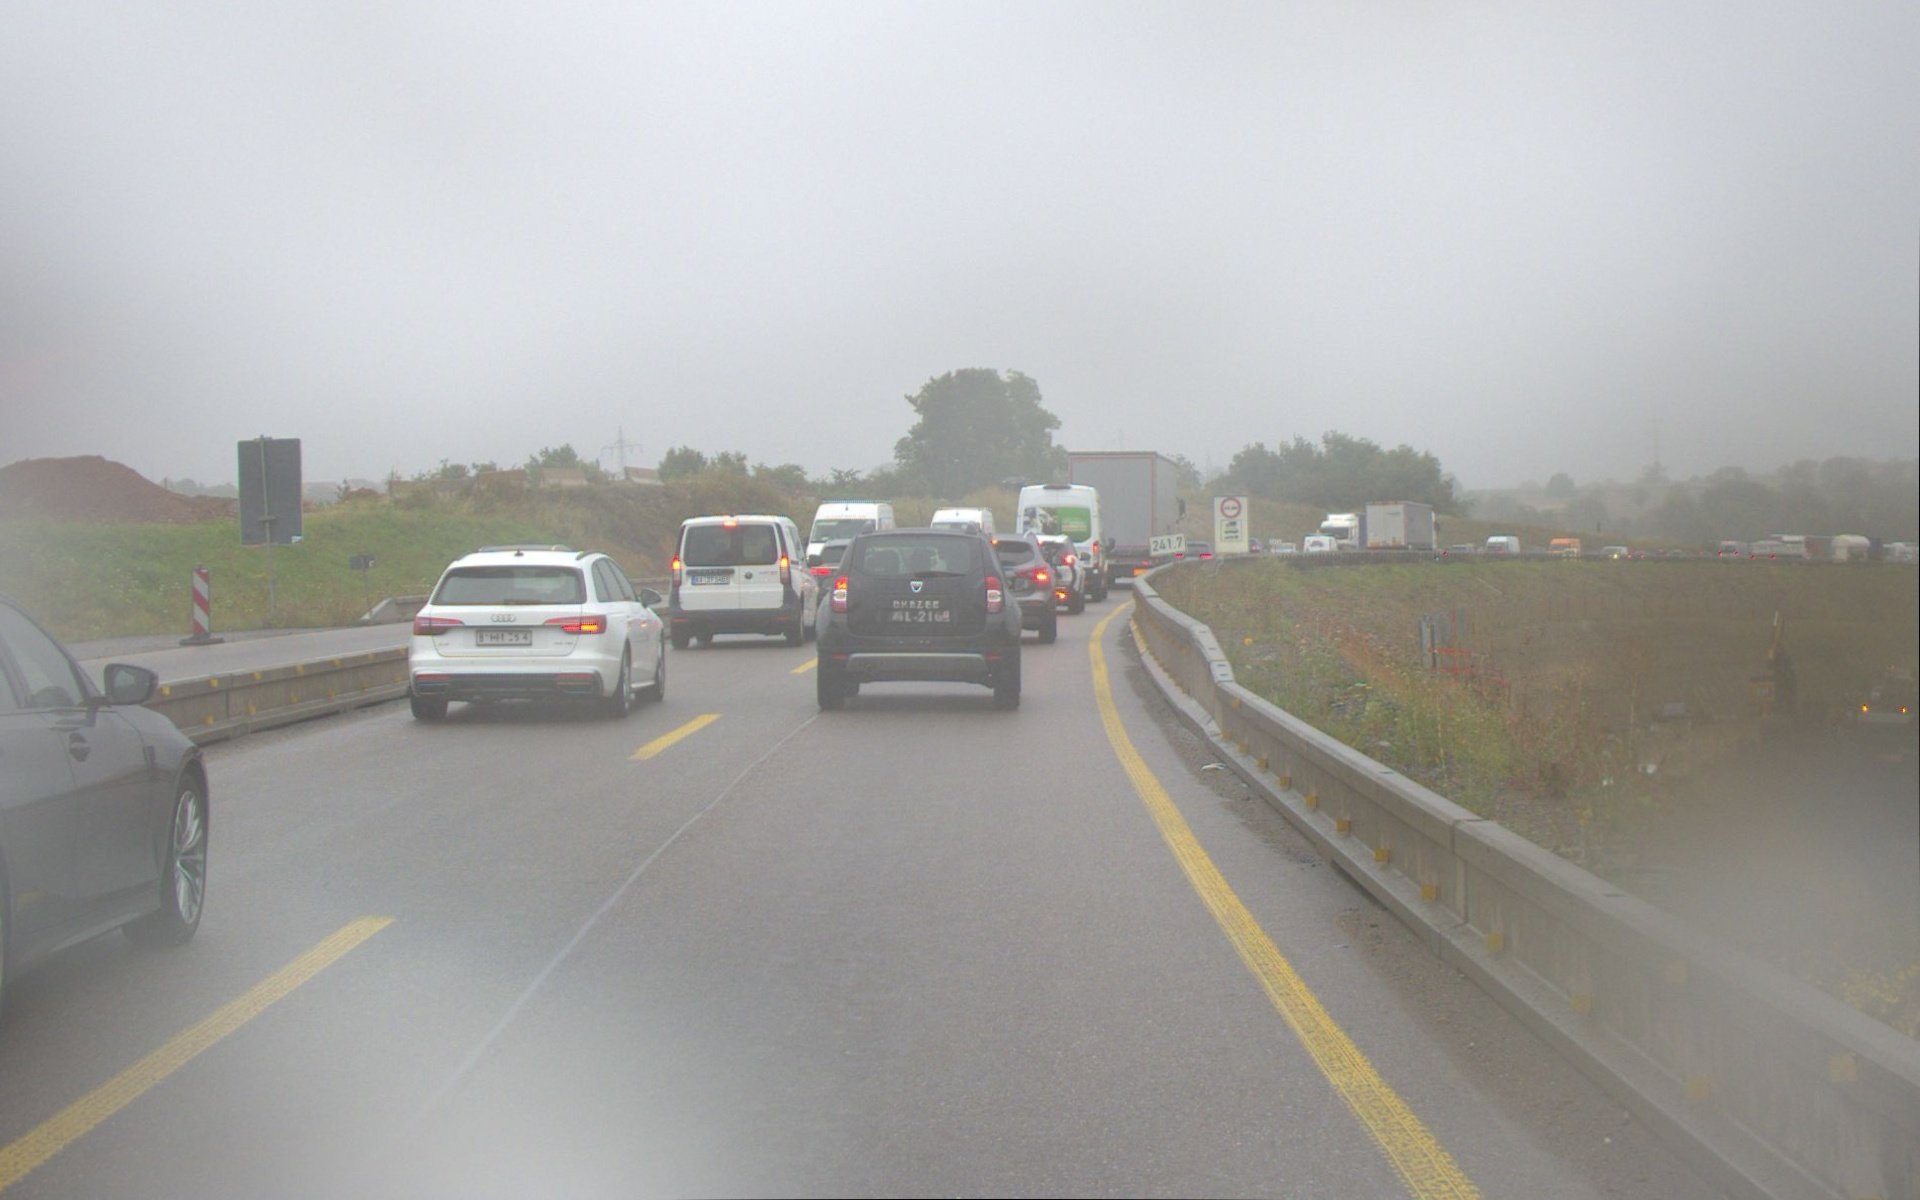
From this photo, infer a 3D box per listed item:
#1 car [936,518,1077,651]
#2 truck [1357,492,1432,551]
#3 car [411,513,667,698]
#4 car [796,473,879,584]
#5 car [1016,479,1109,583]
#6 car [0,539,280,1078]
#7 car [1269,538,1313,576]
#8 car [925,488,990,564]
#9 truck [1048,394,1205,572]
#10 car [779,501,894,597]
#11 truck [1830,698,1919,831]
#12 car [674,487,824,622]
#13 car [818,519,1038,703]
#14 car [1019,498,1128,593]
[{"bbox_3d":[0.699,-0.226,48.916,1.826,1.809,4.000,0,0,3],"label":"car"},{"bbox_3d":[28.520,-5.143,225.276,3.475,3.702,8.411,-1,1,17],"label":"truck"},{"bbox_3d":[-3.581,0.032,29.849,1.826,1.494,4.000,0,0,-1],"label":"car"},{"bbox_3d":[-3.400,-2.014,96.397,1.993,3.003,5.780,0,1,1],"label":"car"},{"bbox_3d":[2.473,-1.625,82.231,1.827,2.429,4.157,0,0,7],"label":"car"},{"bbox_3d":[-3.683,0.601,11.514,1.735,1.457,5.630,0,3,-1],"label":"car"},{"bbox_3d":[19.554,-2.525,202.907,2.036,2.248,4.155,0,0,14],"label":"car"},{"bbox_3d":[-0.054,-2.590,120.038,2.024,2.540,5.958,-1,1,2],"label":"car"},{"bbox_3d":[5.128,-3.410,103.677,3.545,5.060,10.437,0,0,9],"label":"truck"},{"bbox_3d":[-2.383,-0.976,67.292,1.826,1.809,3.999,0,0,4],"label":"car"},{"bbox_3d":[27.793,4.823,102.586,2.731,3.479,9.061,0,0,9],"label":"truck"},{"bbox_3d":[-2.943,-0.631,48.623,1.826,1.809,4.000,0,0,1],"label":"car"},{"bbox_3d":[-0.231,0.082,31.852,1.826,1.585,4.000,0,0,2],"label":"car"},{"bbox_3d":[2.267,-1.048,67.652,1.827,1.809,3.999,0,0,6],"label":"car"}]
